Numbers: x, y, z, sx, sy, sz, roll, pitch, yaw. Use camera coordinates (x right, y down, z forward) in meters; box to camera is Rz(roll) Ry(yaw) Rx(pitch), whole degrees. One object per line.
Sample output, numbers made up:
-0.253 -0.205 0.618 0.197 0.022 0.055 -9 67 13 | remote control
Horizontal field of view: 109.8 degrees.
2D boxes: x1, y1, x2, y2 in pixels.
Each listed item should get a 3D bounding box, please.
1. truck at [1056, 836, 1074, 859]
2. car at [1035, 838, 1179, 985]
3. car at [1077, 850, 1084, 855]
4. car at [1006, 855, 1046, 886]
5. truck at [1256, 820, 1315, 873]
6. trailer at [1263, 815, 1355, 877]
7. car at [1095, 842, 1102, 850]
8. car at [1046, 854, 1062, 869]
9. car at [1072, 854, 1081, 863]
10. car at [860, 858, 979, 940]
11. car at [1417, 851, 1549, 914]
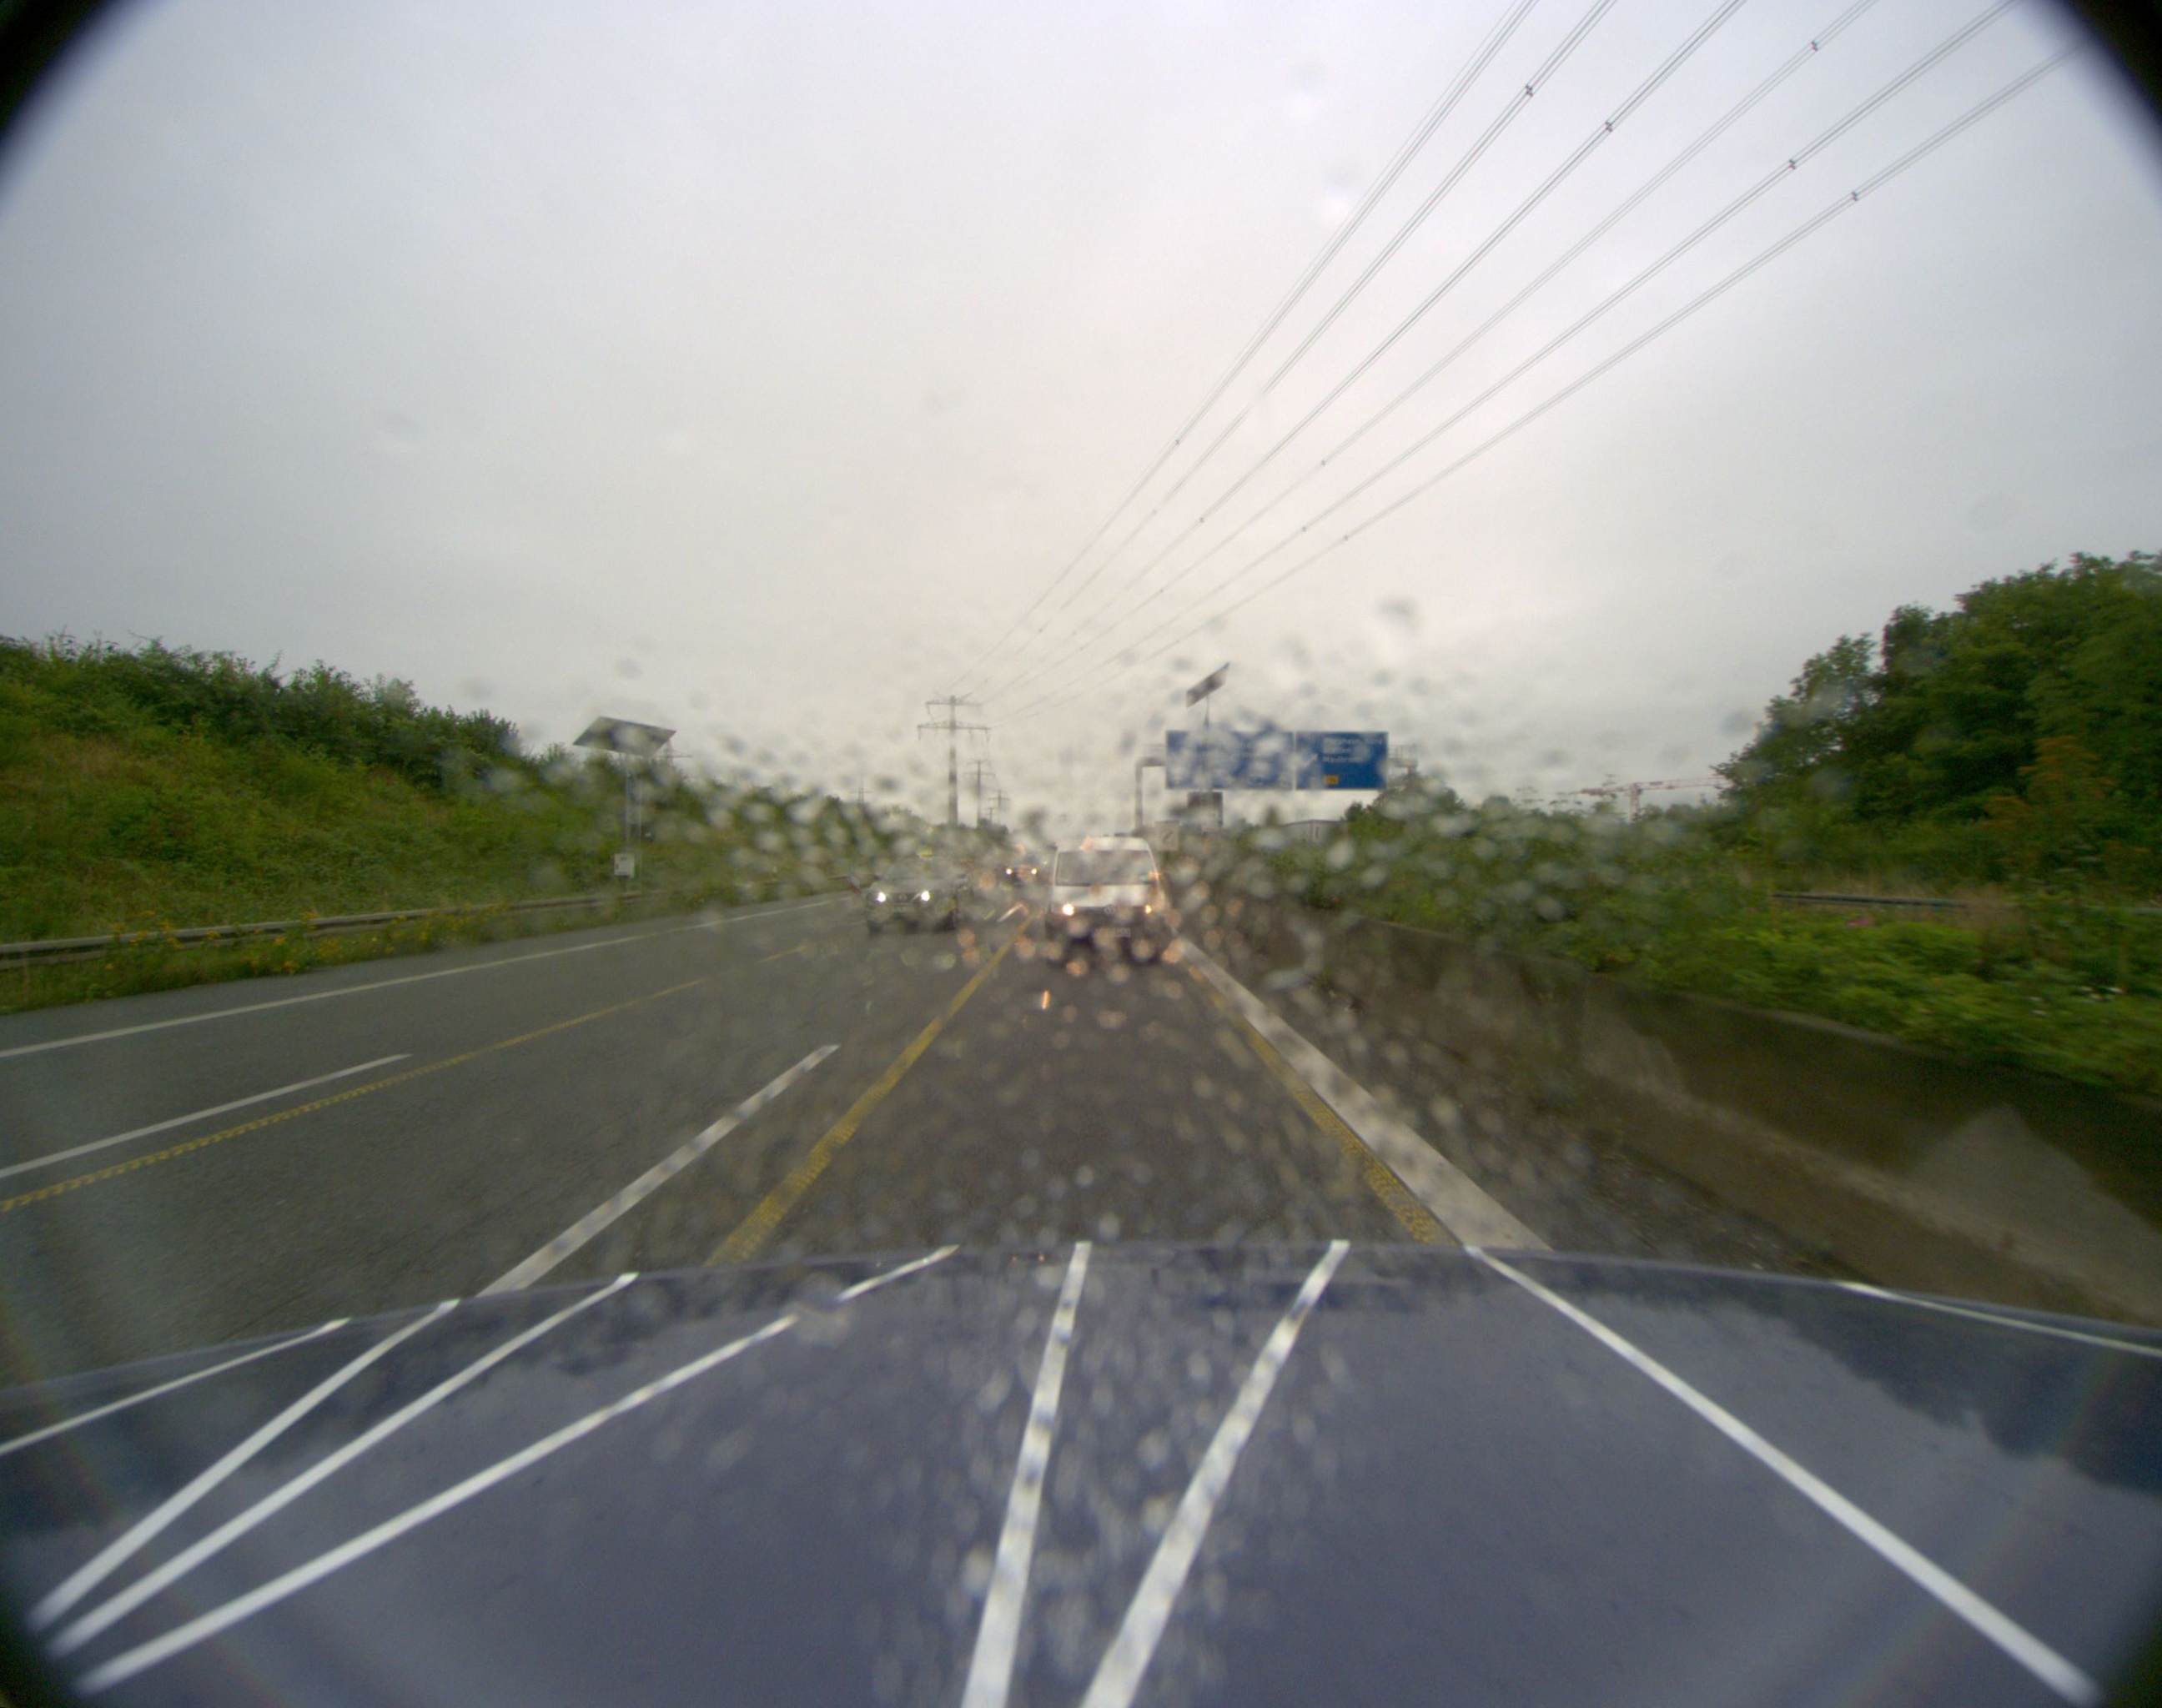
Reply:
-2.793 -1.195 136.886 2.875 4.007 8.308 -1 1 1 | truck
0.346 0.712 11.737 1.768 1.803 4.345 -1 0 1 | car
-0.132 -0.403 215.570 1.906 1.608 4.000 0 0 1 | car
-2.775 0.821 39.288 1.804 1.432 4.149 -1 0 -1 | car
16.589 -0.628 62.232 2.793 4.000 7.232 2 0 0 | truck
16.609 -0.593 56.676 2.793 4.000 13.249 2 0 0 | trailer
4.480 -1.976 196.637 1.785 2.002 4.000 -2 1 1 | car
-3.096 0.823 87.850 1.804 1.598 4.149 -1 0 -1 | car
-1.049 1.032 178.846 1.784 2.002 4.000 -1 0 1 | car
-3.476 0.904 17.108 1.804 1.523 4.149 -1 0 -1 | car
11.392 0.748 21.877 1.693 1.555 3.999 -2 1 1 | car
